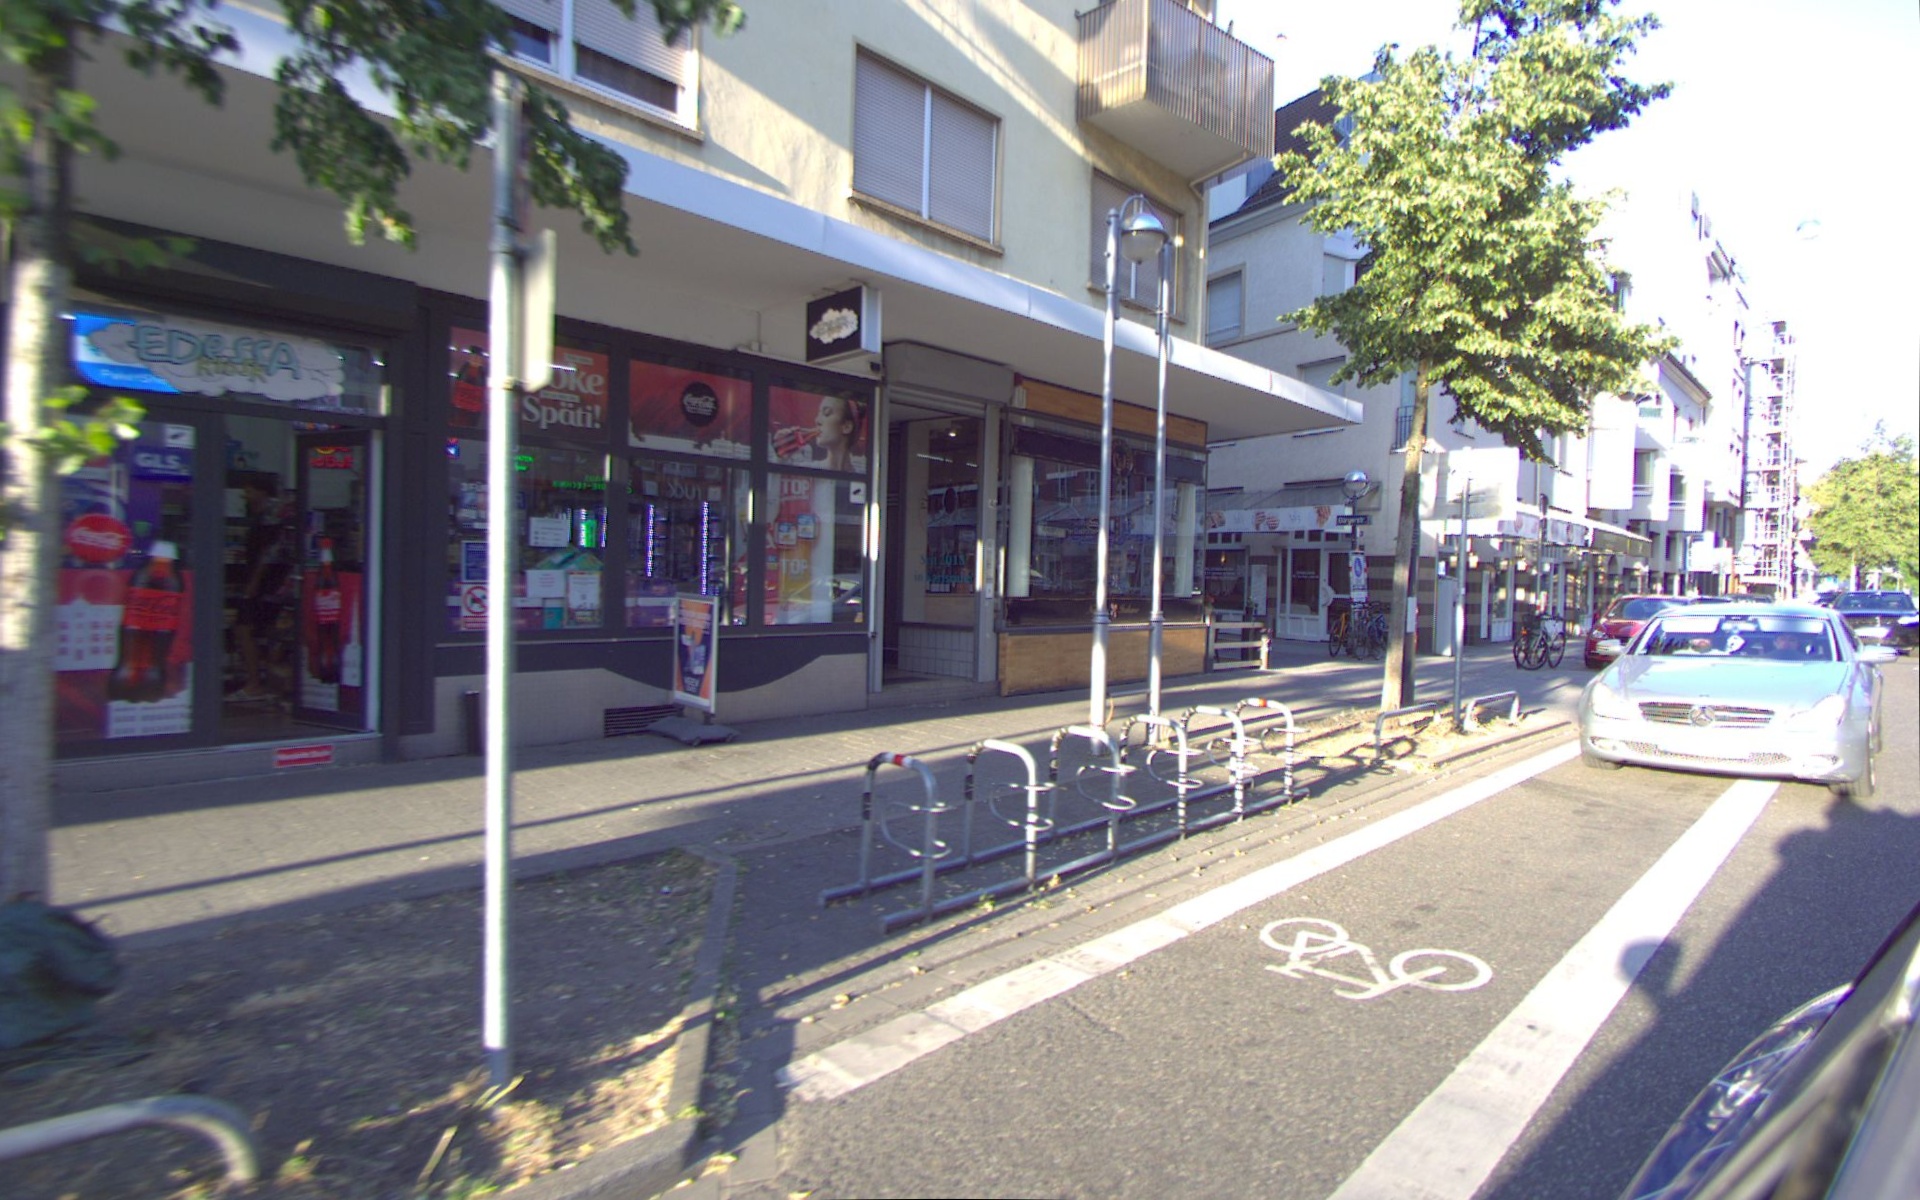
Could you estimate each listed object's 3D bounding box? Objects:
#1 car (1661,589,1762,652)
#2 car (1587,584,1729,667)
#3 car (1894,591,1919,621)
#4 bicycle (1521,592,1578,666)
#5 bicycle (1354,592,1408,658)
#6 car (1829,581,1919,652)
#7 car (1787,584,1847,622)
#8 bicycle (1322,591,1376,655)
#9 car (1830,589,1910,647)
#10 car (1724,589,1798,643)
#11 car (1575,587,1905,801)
[{"bbox_3d":[18.247,0.433,24.520,1.609,1.411,3.638,0,0,43],"label":"car"},{"bbox_3d":[13.551,0.434,19.570,1.649,1.446,3.936,0,0,44],"label":"car"},{"bbox_3d":[54.802,0.320,58.076,1.688,1.675,3.675,0,1,44],"label":"car"},{"bbox_3d":[10.878,0.505,18.652,0.503,1.253,1.685,3,3,43],"label":"bicycle"},{"bbox_3d":[8.021,0.446,19.235,0.330,1.144,1.983,3,3,40],"label":"bicycle"},{"bbox_3d":[23.625,0.359,25.919,1.891,1.662,3.690,1,2,44],"label":"car"},{"bbox_3d":[38.756,0.111,45.746,1.762,1.591,3.810,3,2,44],"label":"car"},{"bbox_3d":[7.563,0.416,19.640,0.330,1.144,1.983,1,2,40],"label":"bicycle"},{"bbox_3d":[27.182,0.485,30.260,1.686,1.562,3.675,0,1,42],"label":"car"},{"bbox_3d":[23.363,0.433,29.481,1.427,1.469,3.328,1,1,43],"label":"car"},{"bbox_3d":[7.041,0.597,8.928,1.786,1.386,4.500,0,1,45],"label":"car"}]
